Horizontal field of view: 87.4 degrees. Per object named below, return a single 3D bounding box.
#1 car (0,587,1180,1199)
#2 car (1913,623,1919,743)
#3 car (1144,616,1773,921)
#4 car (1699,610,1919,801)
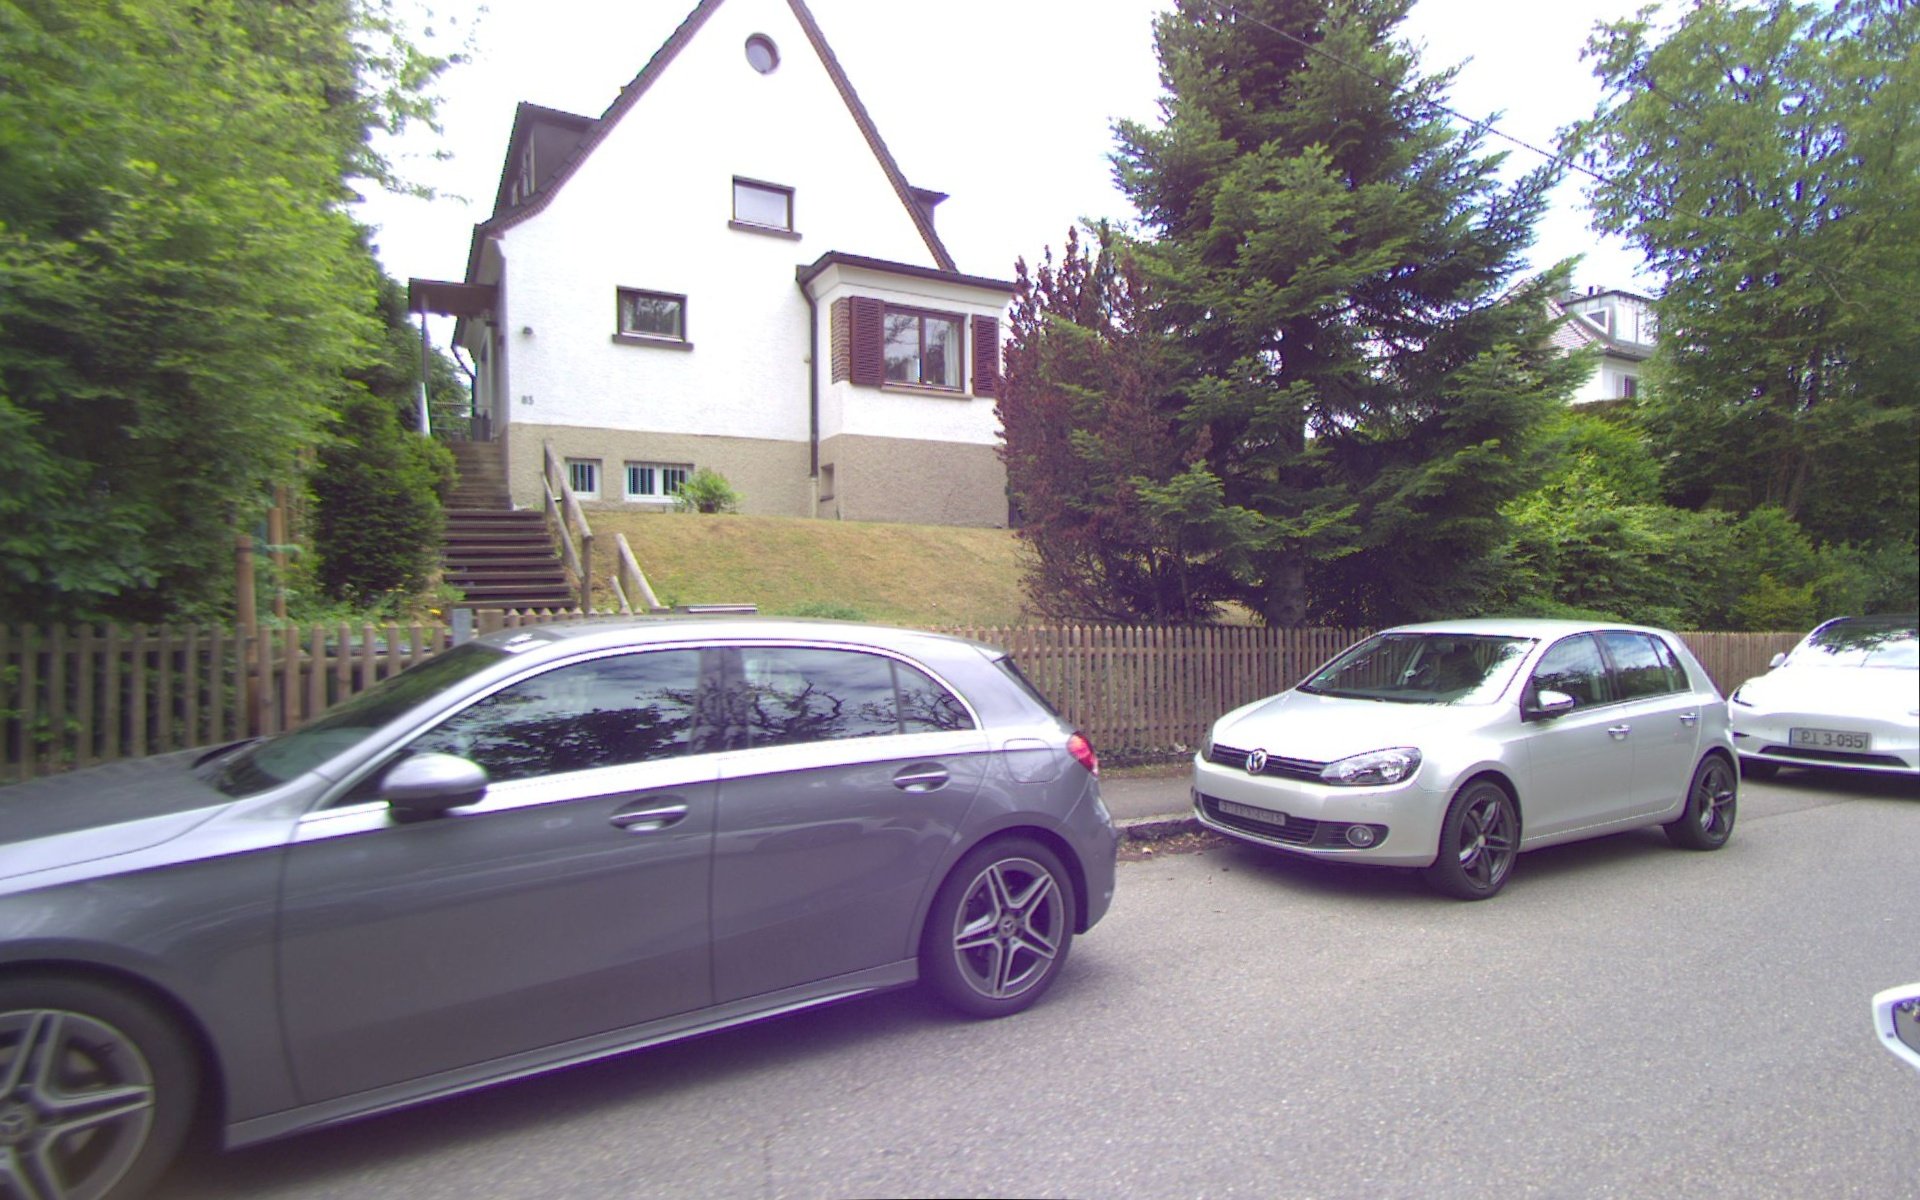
[{"bbox_3d":[-1.348,0.732,3.566,4.217,1.458,1.724,1,-1,-33],"label":"car"},{"bbox_3d":[14.129,1.057,13.024,3.775,1.524,1.711,1,-2,-33],"label":"car"},{"bbox_3d":[3.374,0.857,6.639,4.068,1.458,1.826,1,-1,-31],"label":"car"},{"bbox_3d":[9.543,0.924,10.115,4.554,1.582,1.905,1,-2,-33],"label":"car"}]
